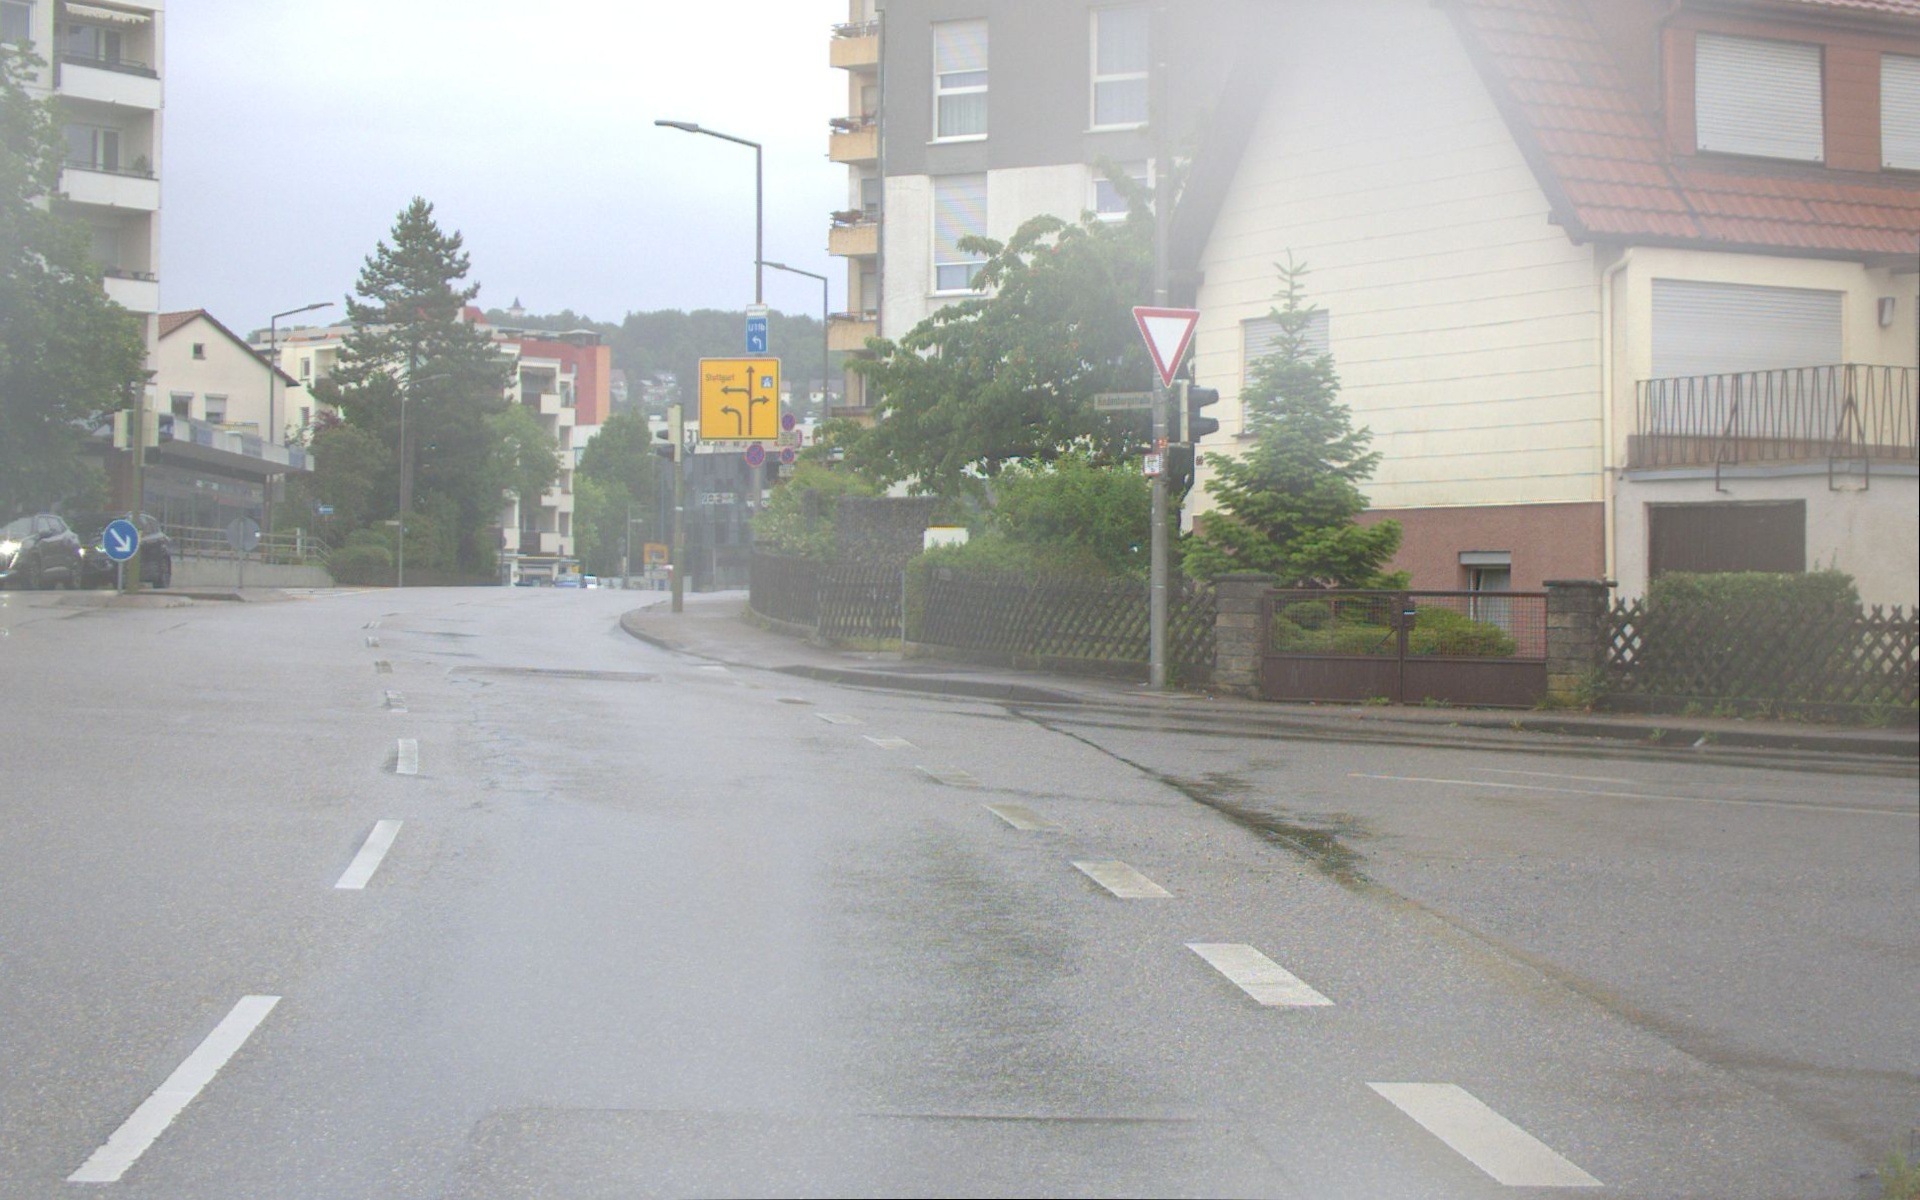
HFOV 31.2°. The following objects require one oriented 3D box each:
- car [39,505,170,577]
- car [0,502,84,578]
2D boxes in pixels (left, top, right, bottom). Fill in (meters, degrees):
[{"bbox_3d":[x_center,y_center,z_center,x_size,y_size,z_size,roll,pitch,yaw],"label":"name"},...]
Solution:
[{"bbox_3d":[-17.732,-1.242,71.413,1.778,1.415,3.831,1,1,-1],"label":"car"},{"bbox_3d":[-18.072,-1.166,65.625,1.715,1.382,4.021,1,1,-1],"label":"car"}]
